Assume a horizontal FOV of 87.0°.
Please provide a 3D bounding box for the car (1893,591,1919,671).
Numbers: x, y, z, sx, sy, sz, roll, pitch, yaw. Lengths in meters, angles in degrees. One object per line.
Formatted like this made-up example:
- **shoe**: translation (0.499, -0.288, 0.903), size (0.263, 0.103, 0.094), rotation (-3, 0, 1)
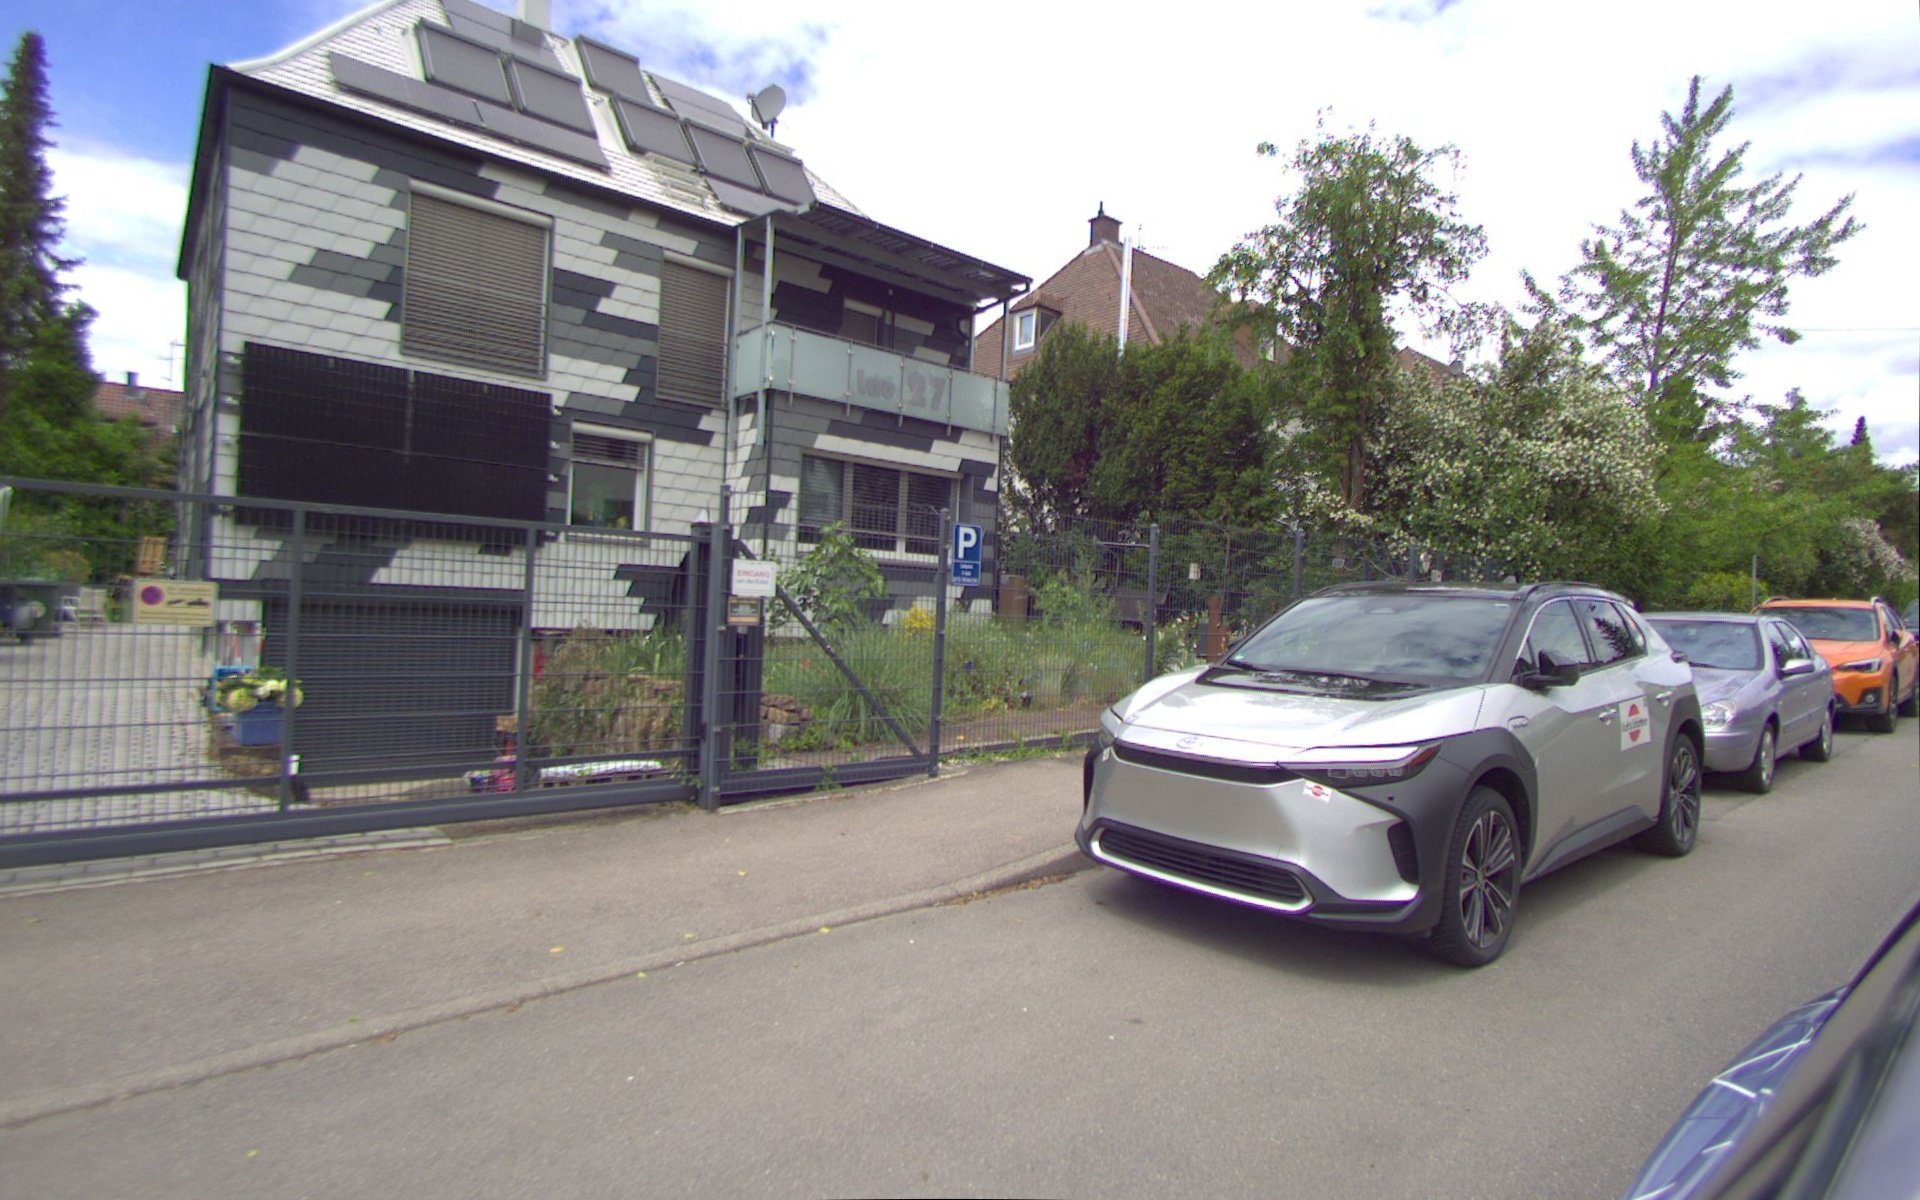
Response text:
- **car**: translation (21.656, 0.629, 21.778), size (4.302, 1.647, 1.952), rotation (0, 0, -42)

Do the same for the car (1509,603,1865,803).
- **car**: translation (6.822, 0.747, 9.327), size (4.161, 1.399, 1.719), rotation (0, 1, -40)

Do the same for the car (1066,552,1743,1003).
- **car**: translation (2.803, 0.627, 5.827), size (4.413, 1.644, 1.833), rotation (0, 1, -40)

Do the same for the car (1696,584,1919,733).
- **car**: translation (11.309, 0.640, 13.252), size (4.097, 1.647, 1.853), rotation (0, 0, -41)
